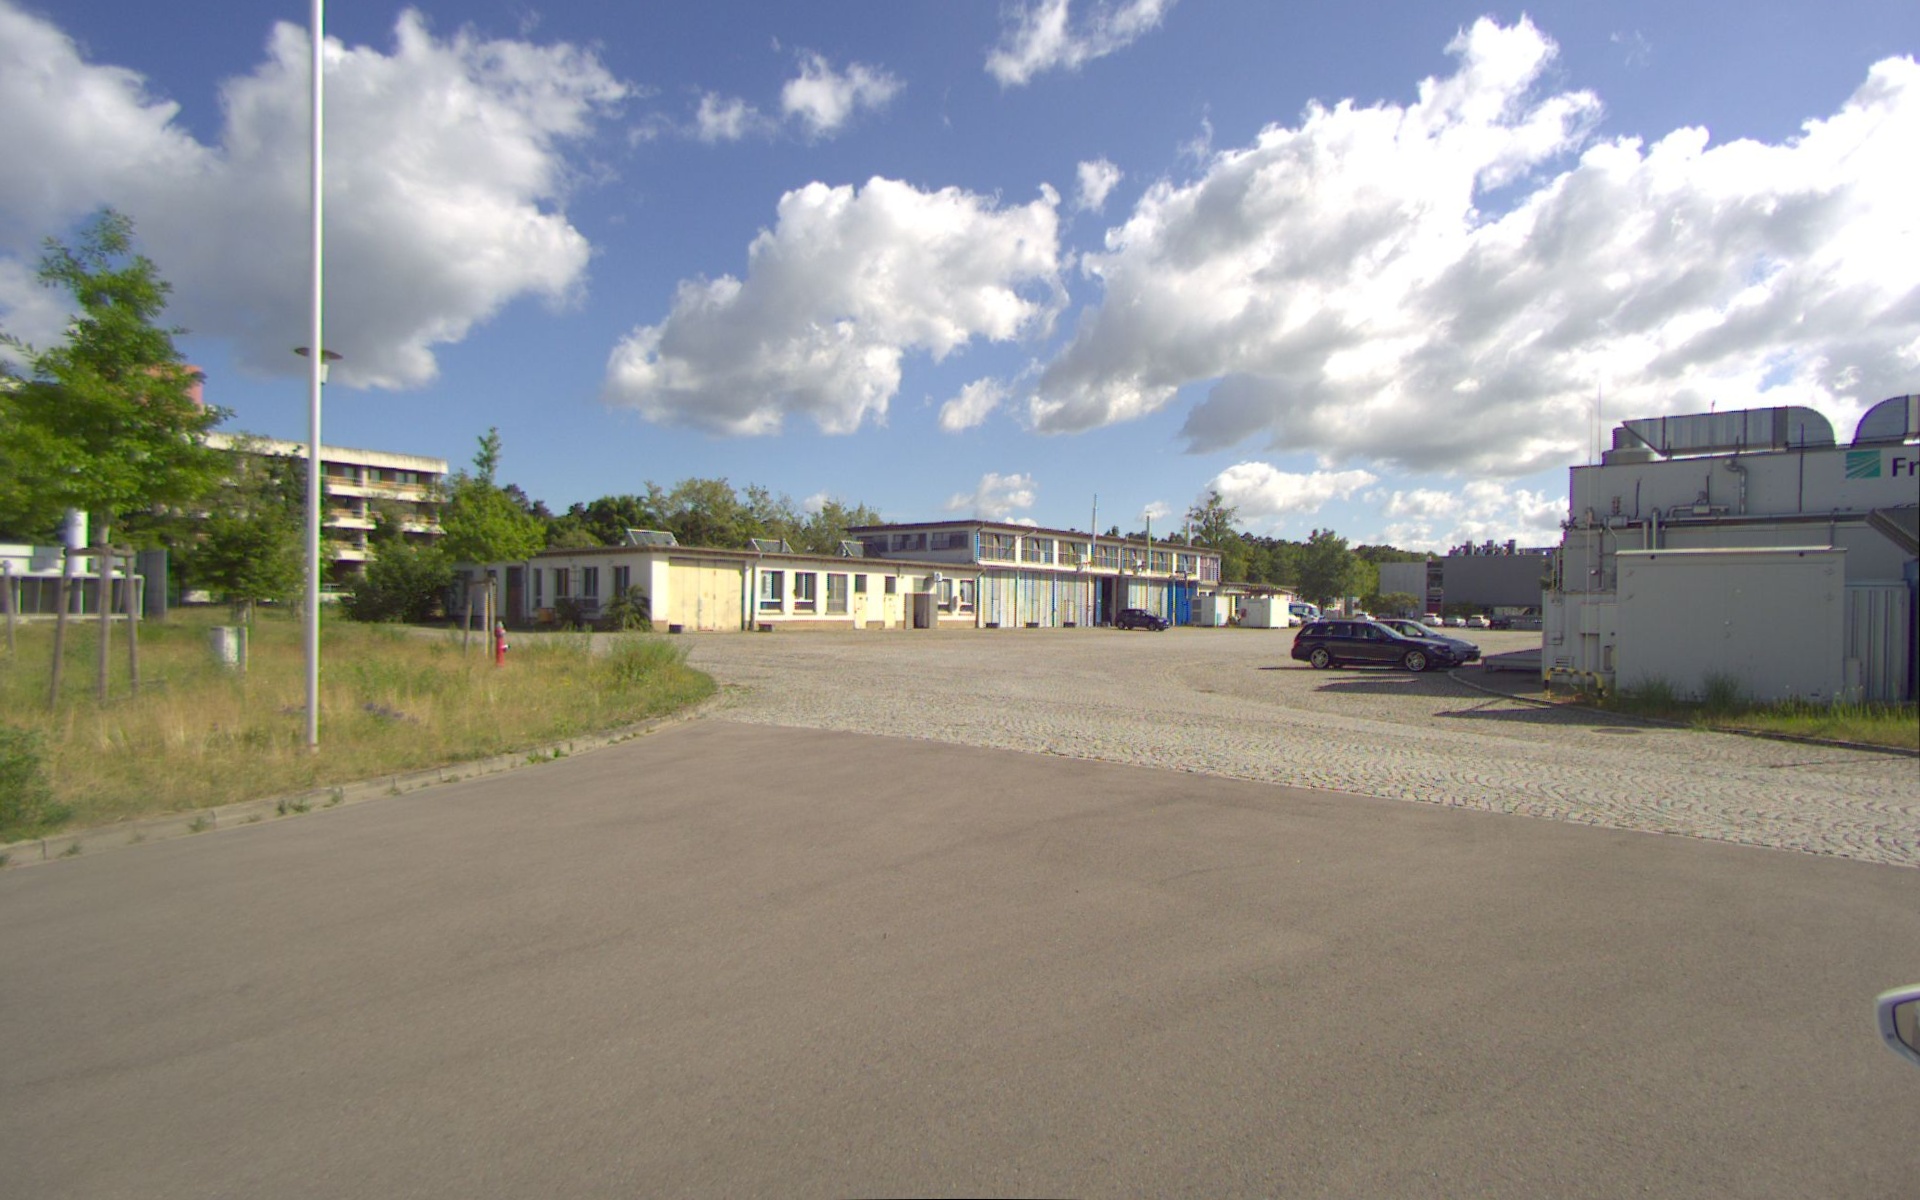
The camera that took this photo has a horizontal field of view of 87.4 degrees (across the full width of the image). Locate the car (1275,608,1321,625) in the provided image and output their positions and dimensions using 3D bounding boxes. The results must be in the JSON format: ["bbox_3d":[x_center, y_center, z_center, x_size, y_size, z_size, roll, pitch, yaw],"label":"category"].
[{"bbox_3d":[34.490,1.706,102.604,4.066,1.652,1.797,1,0,44],"label":"car"}]

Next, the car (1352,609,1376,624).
[{"bbox_3d":[49.910,2.059,124.032,1.822,1.690,4.121,-2,-2,34],"label":"car"}]

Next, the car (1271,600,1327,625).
[{"bbox_3d":[35.570,1.294,105.518,5.202,2.474,2.037,1,0,44],"label":"car"}]

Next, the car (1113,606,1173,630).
[{"bbox_3d":[13.913,1.368,76.424,4.110,1.688,1.776,2,0,38],"label":"car"}]

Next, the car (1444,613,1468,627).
[{"bbox_3d":[57.950,2.383,117.317,1.853,1.557,4.021,-2,-2,36],"label":"car"}]

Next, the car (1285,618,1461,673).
[{"bbox_3d":[12.279,1.330,29.987,4.476,1.462,1.979,0,-2,40],"label":"car"}]

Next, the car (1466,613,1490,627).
[{"bbox_3d":[59.857,2.322,116.021,1.853,1.557,4.021,-2,-2,36],"label":"car"}]

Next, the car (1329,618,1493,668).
[{"bbox_3d":[14.478,1.346,32.378,4.476,1.462,1.896,0,-2,40],"label":"car"}]

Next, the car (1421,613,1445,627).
[{"bbox_3d":[56.092,2.382,119.057,1.853,1.712,4.021,-2,-2,36],"label":"car"}]

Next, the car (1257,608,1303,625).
[{"bbox_3d":[32.229,1.636,101.128,4.066,1.652,1.697,1,0,44],"label":"car"}]

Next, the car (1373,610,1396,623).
[{"bbox_3d":[51.702,2.054,122.390,1.852,1.557,4.024,-2,-2,34],"label":"car"}]
